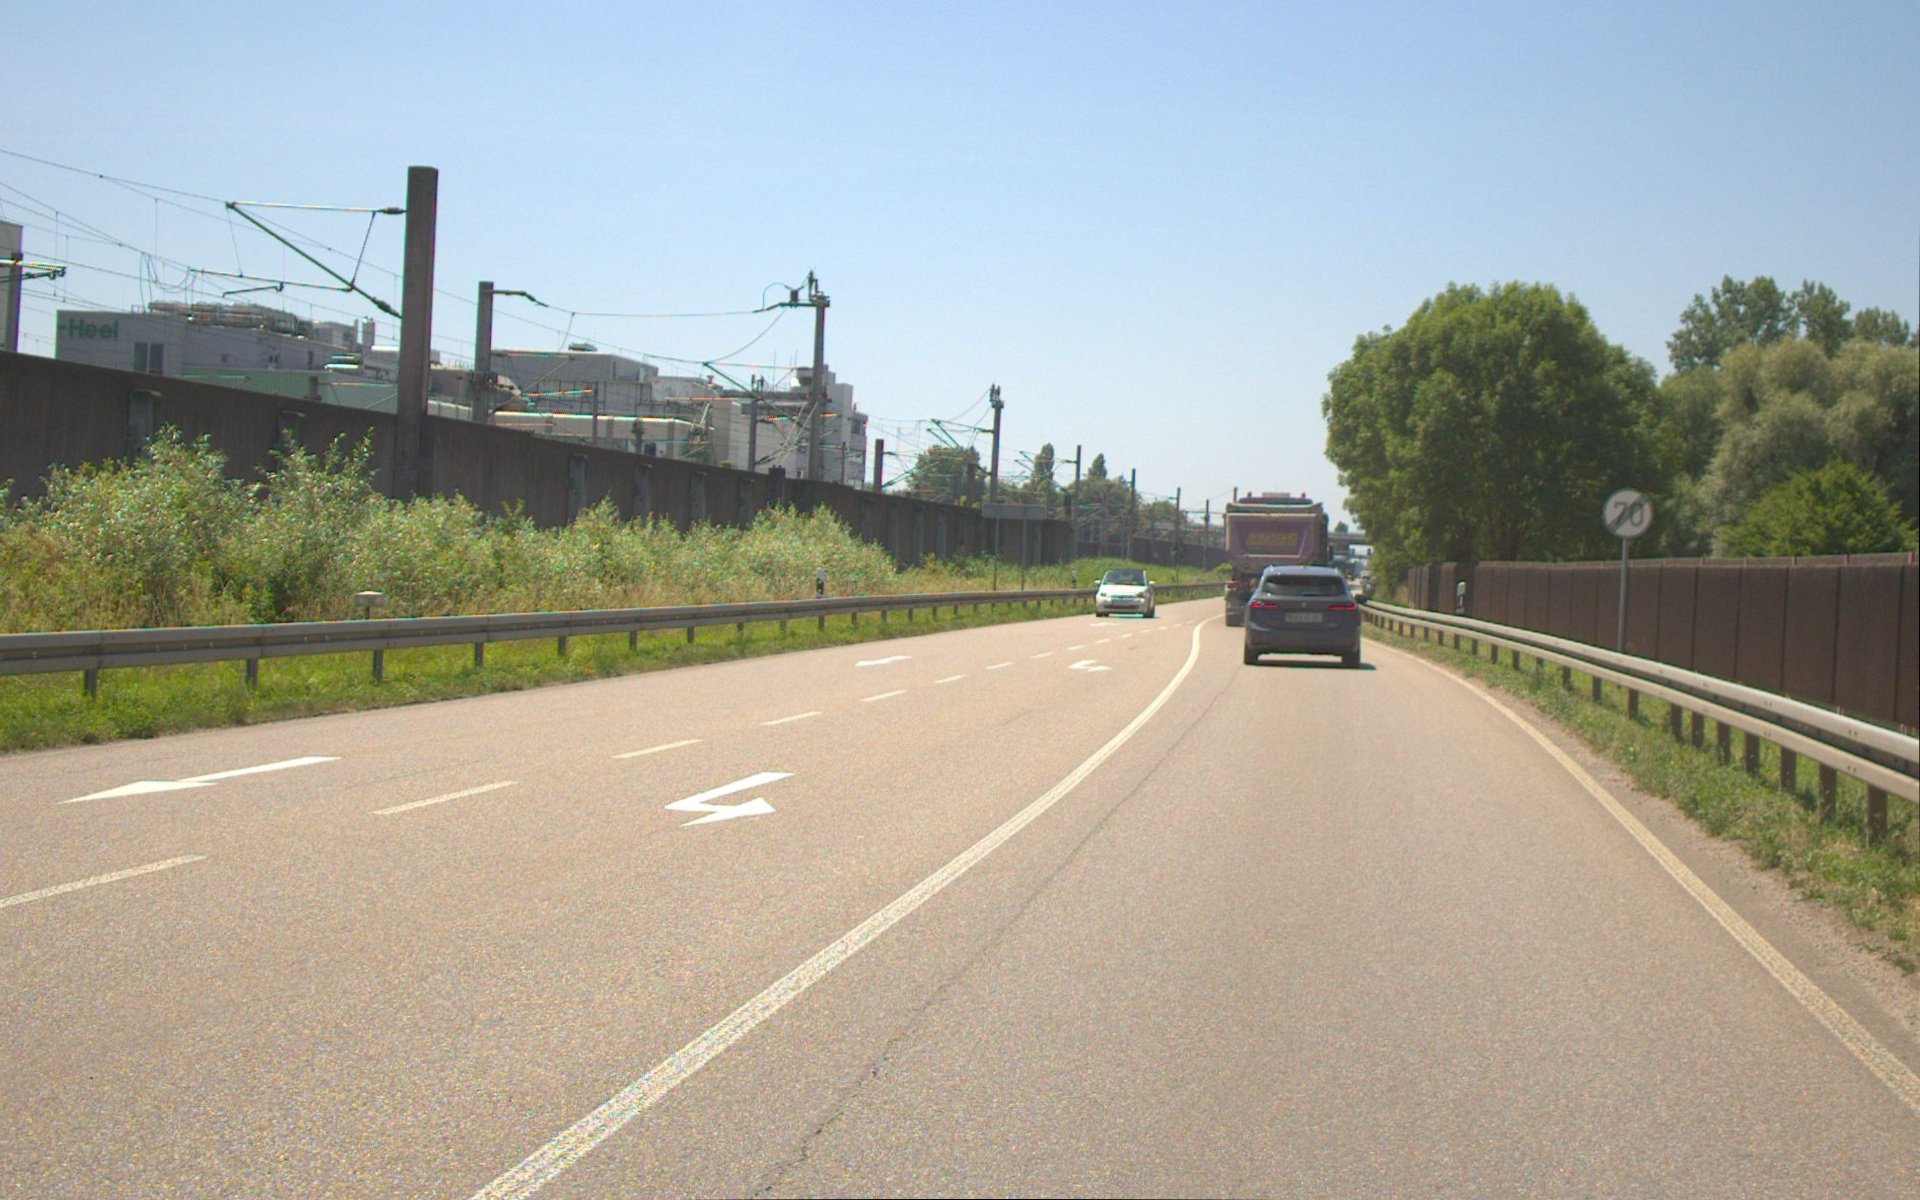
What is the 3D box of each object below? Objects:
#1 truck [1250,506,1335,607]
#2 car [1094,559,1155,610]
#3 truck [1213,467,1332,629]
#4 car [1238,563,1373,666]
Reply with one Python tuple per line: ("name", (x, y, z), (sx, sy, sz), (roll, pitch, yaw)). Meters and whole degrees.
("truck", (12.807, -1.607, 133.222), (2.996, 3.707, 10.557), (2, 0, 5))
("car", (5.070, -0.484, 105.654), (1.672, 1.497, 3.721), (2, 1, 5))
("truck", (8.675, -1.349, 95.974), (2.996, 4.166, 11.805), (2, 0, 5))
("car", (5.483, 0.253, 54.471), (1.994, 1.498, 3.999), (3, -1, 6))
